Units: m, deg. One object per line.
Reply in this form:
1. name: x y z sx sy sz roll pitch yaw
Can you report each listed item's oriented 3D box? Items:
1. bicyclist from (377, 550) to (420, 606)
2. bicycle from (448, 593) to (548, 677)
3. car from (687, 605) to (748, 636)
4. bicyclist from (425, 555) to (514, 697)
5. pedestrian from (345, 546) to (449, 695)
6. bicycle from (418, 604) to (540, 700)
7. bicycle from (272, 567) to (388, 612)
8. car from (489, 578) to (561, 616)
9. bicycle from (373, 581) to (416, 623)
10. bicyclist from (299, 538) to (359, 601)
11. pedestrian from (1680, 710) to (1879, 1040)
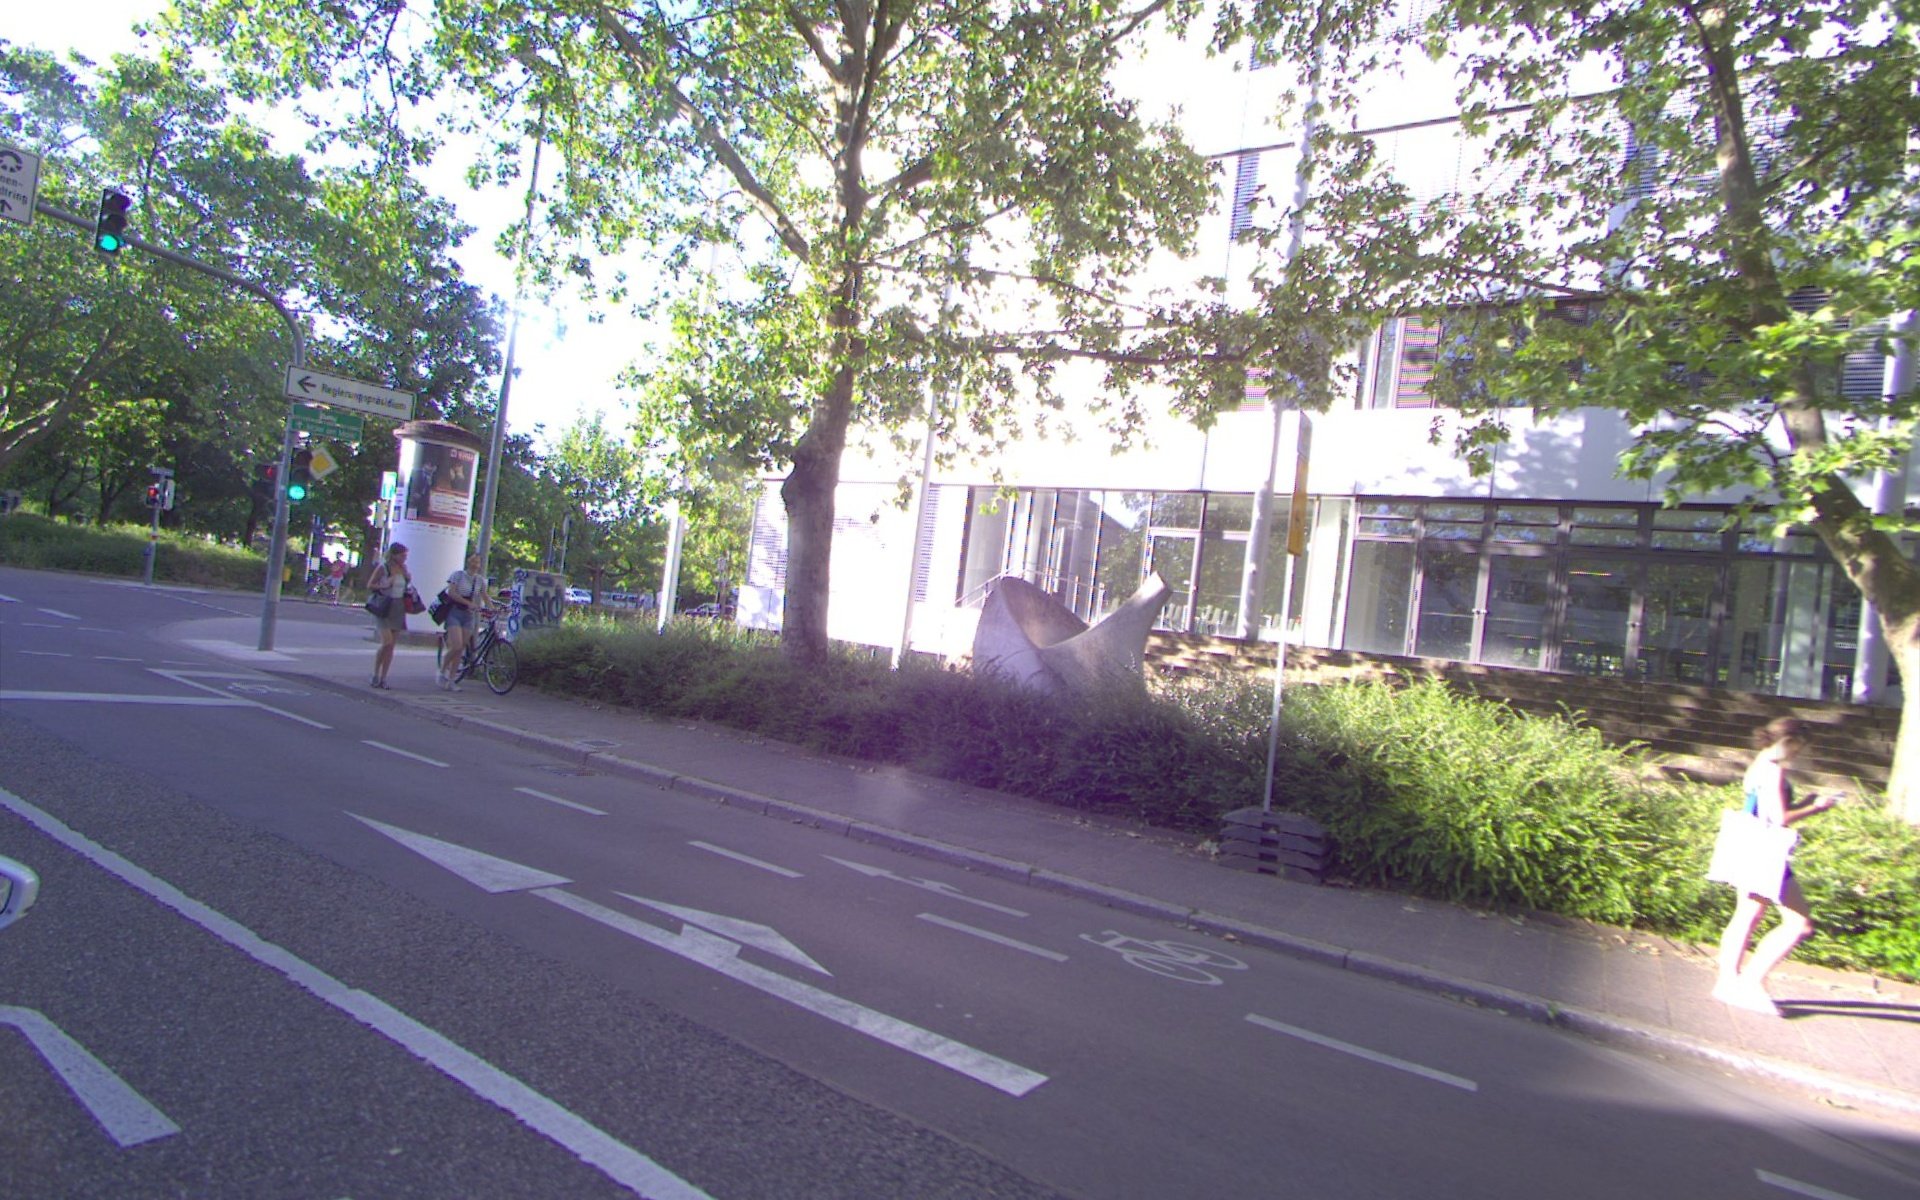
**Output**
1. bicyclist: -17.125 -0.688 30.706 0.942 1.565 1.118 7 0 -26
2. bicycle: -7.253 0.558 15.886 0.462 1.196 1.995 6 -2 2
3. car: -17.679 1.485 73.240 3.934 1.800 1.997 5 -2 32
4. bicyclist: -6.240 0.341 12.815 0.644 1.734 0.633 4 -2 31
5. pedestrian: -6.902 0.256 12.348 0.681 1.740 0.774 4 -1 31
6. bicycle: -6.243 0.666 13.040 1.620 1.046 0.522 6 -2 31
7. bicycle: -20.255 -0.306 32.446 0.926 1.050 3.004 6 -3 29
8. car: -26.398 -0.165 61.022 3.934 1.800 1.997 5 -2 32
9. bicycle: -17.258 0.089 30.742 0.971 1.063 2.646 6 -5 -27
10. bicyclist: -20.246 -0.958 32.303 0.961 1.829 1.131 6 -2 30
11. pedestrian: 4.505 1.463 5.575 0.671 1.612 0.462 6 -2 31
